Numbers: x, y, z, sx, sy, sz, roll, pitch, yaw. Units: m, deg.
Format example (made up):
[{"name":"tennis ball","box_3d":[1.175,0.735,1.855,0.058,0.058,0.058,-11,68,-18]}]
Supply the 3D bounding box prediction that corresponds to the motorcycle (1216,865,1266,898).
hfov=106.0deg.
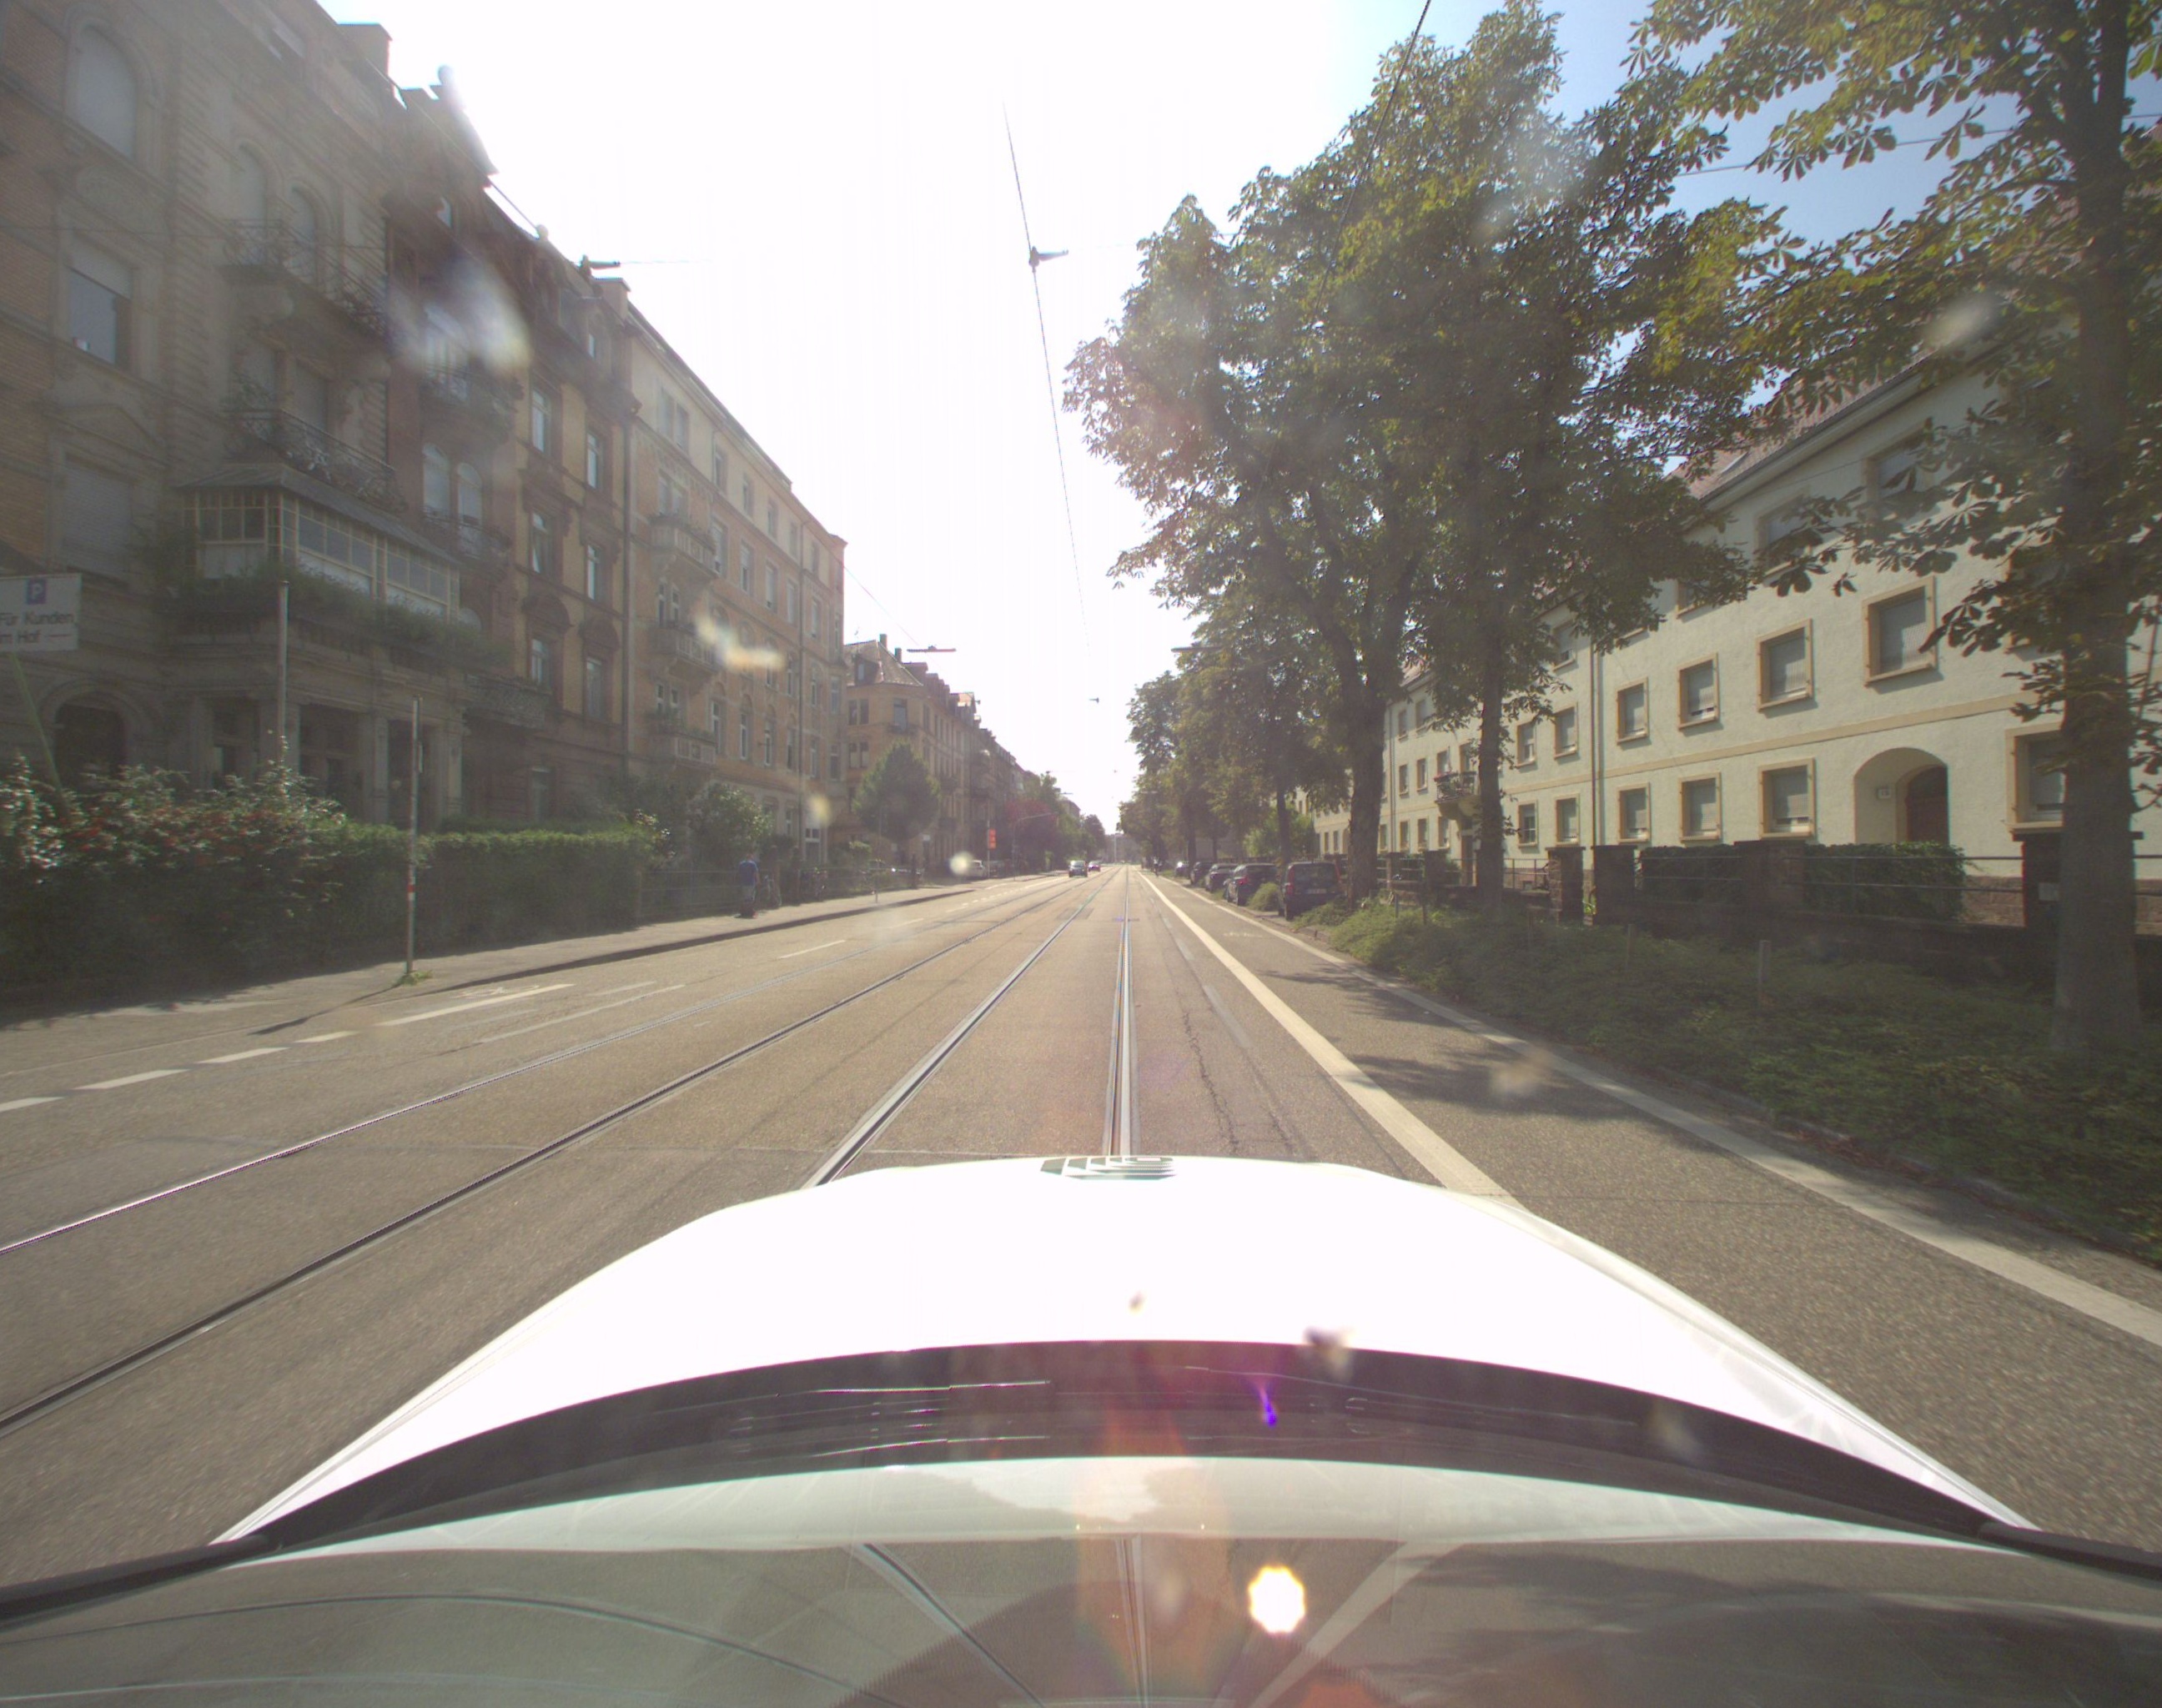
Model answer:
[{"name":"motorcycle","box_3d":[6.799,1.157,34.677,1.997,1.368,0.782,0,-1,0]}]

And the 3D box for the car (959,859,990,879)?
[{"name":"car","box_3d":[-8.708,1.235,67.127,1.987,1.594,4.358,0,-1,0]}]

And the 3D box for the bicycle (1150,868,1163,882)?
[{"name":"bicycle","box_3d":[7.103,1.961,76.764,1.142,1.269,2.715,0,-1,5]}]

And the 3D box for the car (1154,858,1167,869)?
[{"name":"car","box_3d":[12.220,1.470,125.345,1.833,1.532,4.783,-2,-1,3]}]

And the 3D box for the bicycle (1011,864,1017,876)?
[{"name":"bicycle","box_3d":[-6.248,1.539,76.452,0.388,1.099,1.569,0,0,1]}]

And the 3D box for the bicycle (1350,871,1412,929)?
[{"name":"bicycle","box_3d":[6.029,0.910,16.348,1.397,1.108,0.385,0,-1,-33]}]

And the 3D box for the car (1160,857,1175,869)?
[{"name":"car","box_3d":[11.529,1.179,108.596,1.833,1.532,4.118,-1,1,3]}]

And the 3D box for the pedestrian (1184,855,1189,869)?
[{"name":"pedestrian","box_3d":[14.900,1.144,115.300,0.703,1.892,0.715,0,-1,5]}]

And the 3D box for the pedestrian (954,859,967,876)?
[{"name":"pedestrian","box_3d":[-10.919,1.217,73.867,0.888,1.511,0.862,0,-1,-28]}]

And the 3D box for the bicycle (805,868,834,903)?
[{"name":"bicycle","box_3d":[-9.104,1.071,28.358,0.388,1.148,1.583,0,0,4]}]

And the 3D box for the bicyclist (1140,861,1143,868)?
[{"name":"bicyclist","box_3d":[10.776,1.895,145.331,0.576,1.279,0.472,0,-1,6]}]

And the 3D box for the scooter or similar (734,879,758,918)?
[{"name":"scooter or similar","box_3d":[-8.769,1.161,21.318,0.399,0.982,0.583,1,-1,-5]}]

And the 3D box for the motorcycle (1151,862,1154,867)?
[{"name":"motorcycle","box_3d":[15.675,2.267,178.231,0.546,1.068,2.332,0,-1,4]}]

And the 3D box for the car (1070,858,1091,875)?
[{"name":"car","box_3d":[0.005,1.209,78.146,1.819,1.540,4.003,-1,0,3]}]

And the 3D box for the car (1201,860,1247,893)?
[{"name":"car","box_3d":[7.116,1.097,40.914,1.748,1.477,4.461,-4,-1,3]}]

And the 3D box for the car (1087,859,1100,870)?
[{"name":"car","box_3d":[1.870,1.511,117.170,1.725,1.490,4.003,-1,0,3]}]

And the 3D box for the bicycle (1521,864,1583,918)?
[{"name":"bicycle","box_3d":[10.736,0.816,18.608,0.466,1.160,1.718,0,-1,2]}]

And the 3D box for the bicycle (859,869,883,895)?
[{"name":"bicycle","box_3d":[-8.805,1.168,34.168,0.388,1.038,1.835,0,0,4]}]

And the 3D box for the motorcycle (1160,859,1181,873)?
[{"name":"motorcycle","box_3d":[10.223,1.340,92.991,2.317,1.540,0.974,-4,-3,44]}]

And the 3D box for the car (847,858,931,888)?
[{"name":"car","box_3d":[-10.614,1.048,45.224,4.082,1.594,1.881,1,-1,4]}]

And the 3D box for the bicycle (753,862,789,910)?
[{"name":"bicycle","box_3d":[-9.360,0.952,24.644,0.388,1.406,1.583,0,0,4]}]

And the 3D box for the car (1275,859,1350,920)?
[{"name":"car","box_3d":[6.302,0.922,22.509,1.607,1.530,3.508,-1,-1,10]}]

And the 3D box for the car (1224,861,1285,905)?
[{"name":"car","box_3d":[6.382,1.035,30.288,1.610,1.477,4.042,-2,0,3]}]

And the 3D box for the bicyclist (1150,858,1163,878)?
[{"name":"bicyclist","box_3d":[7.096,1.306,76.631,1.120,1.837,0.957,0,-1,4]}]

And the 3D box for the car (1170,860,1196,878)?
[{"name":"car","box_3d":[8.679,1.260,69.629,1.884,1.477,4.844,0,0,3]}]

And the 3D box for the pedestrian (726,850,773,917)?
[{"name":"pedestrian","box_3d":[-8.954,0.784,22.029,0.879,1.756,0.871,0,-1,3]}]

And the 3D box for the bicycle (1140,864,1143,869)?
[{"name":"bicycle","box_3d":[10.771,2.286,145.285,0.585,0.939,2.175,0,-1,6]}]

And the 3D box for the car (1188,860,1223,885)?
[{"name":"car","box_3d":[7.848,1.119,51.524,1.748,1.477,4.389,0,0,3]}]
